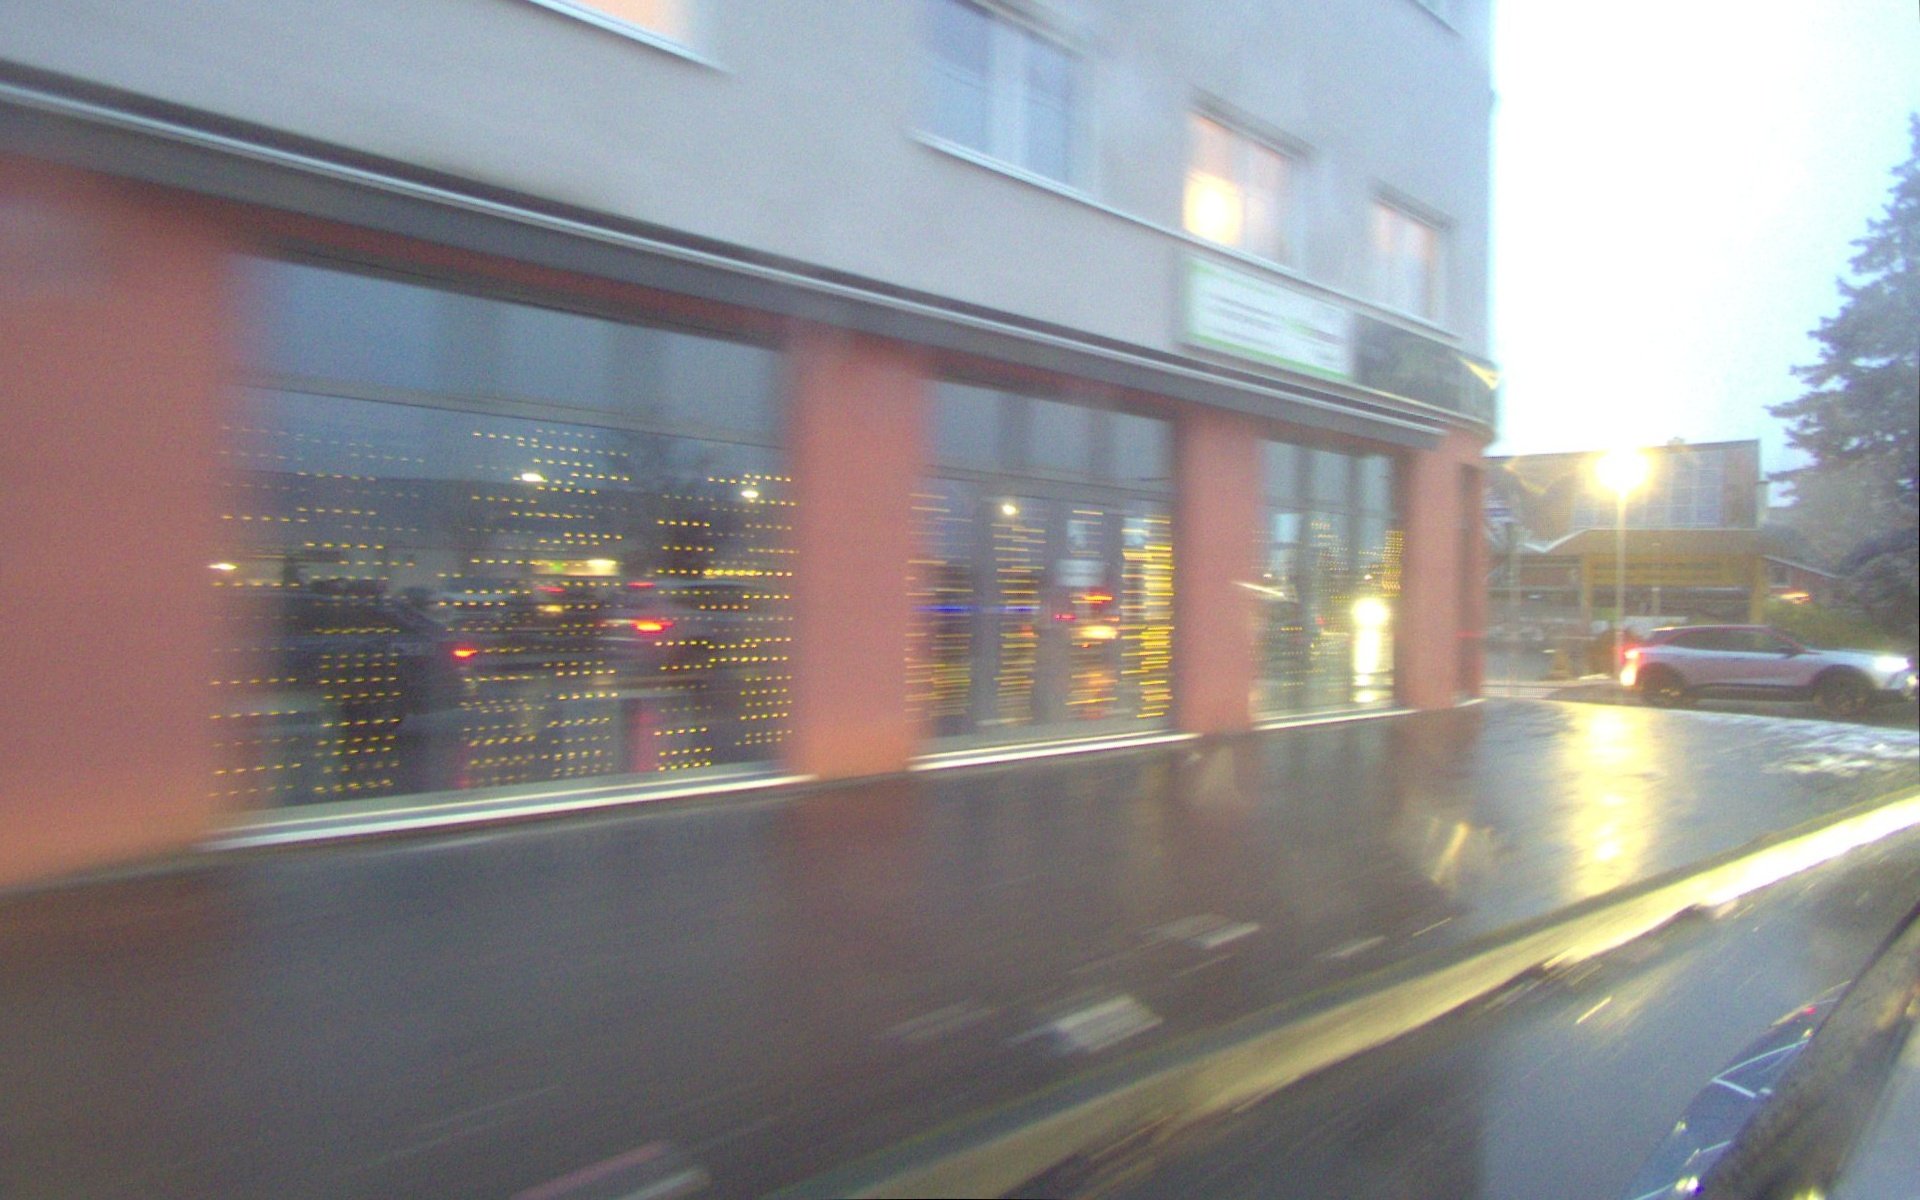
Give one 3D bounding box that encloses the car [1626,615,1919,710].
[{"bbox_3d":[14.314,1.049,17.628,1.765,1.460,4.177,2,-3,-40],"label":"car"}]
